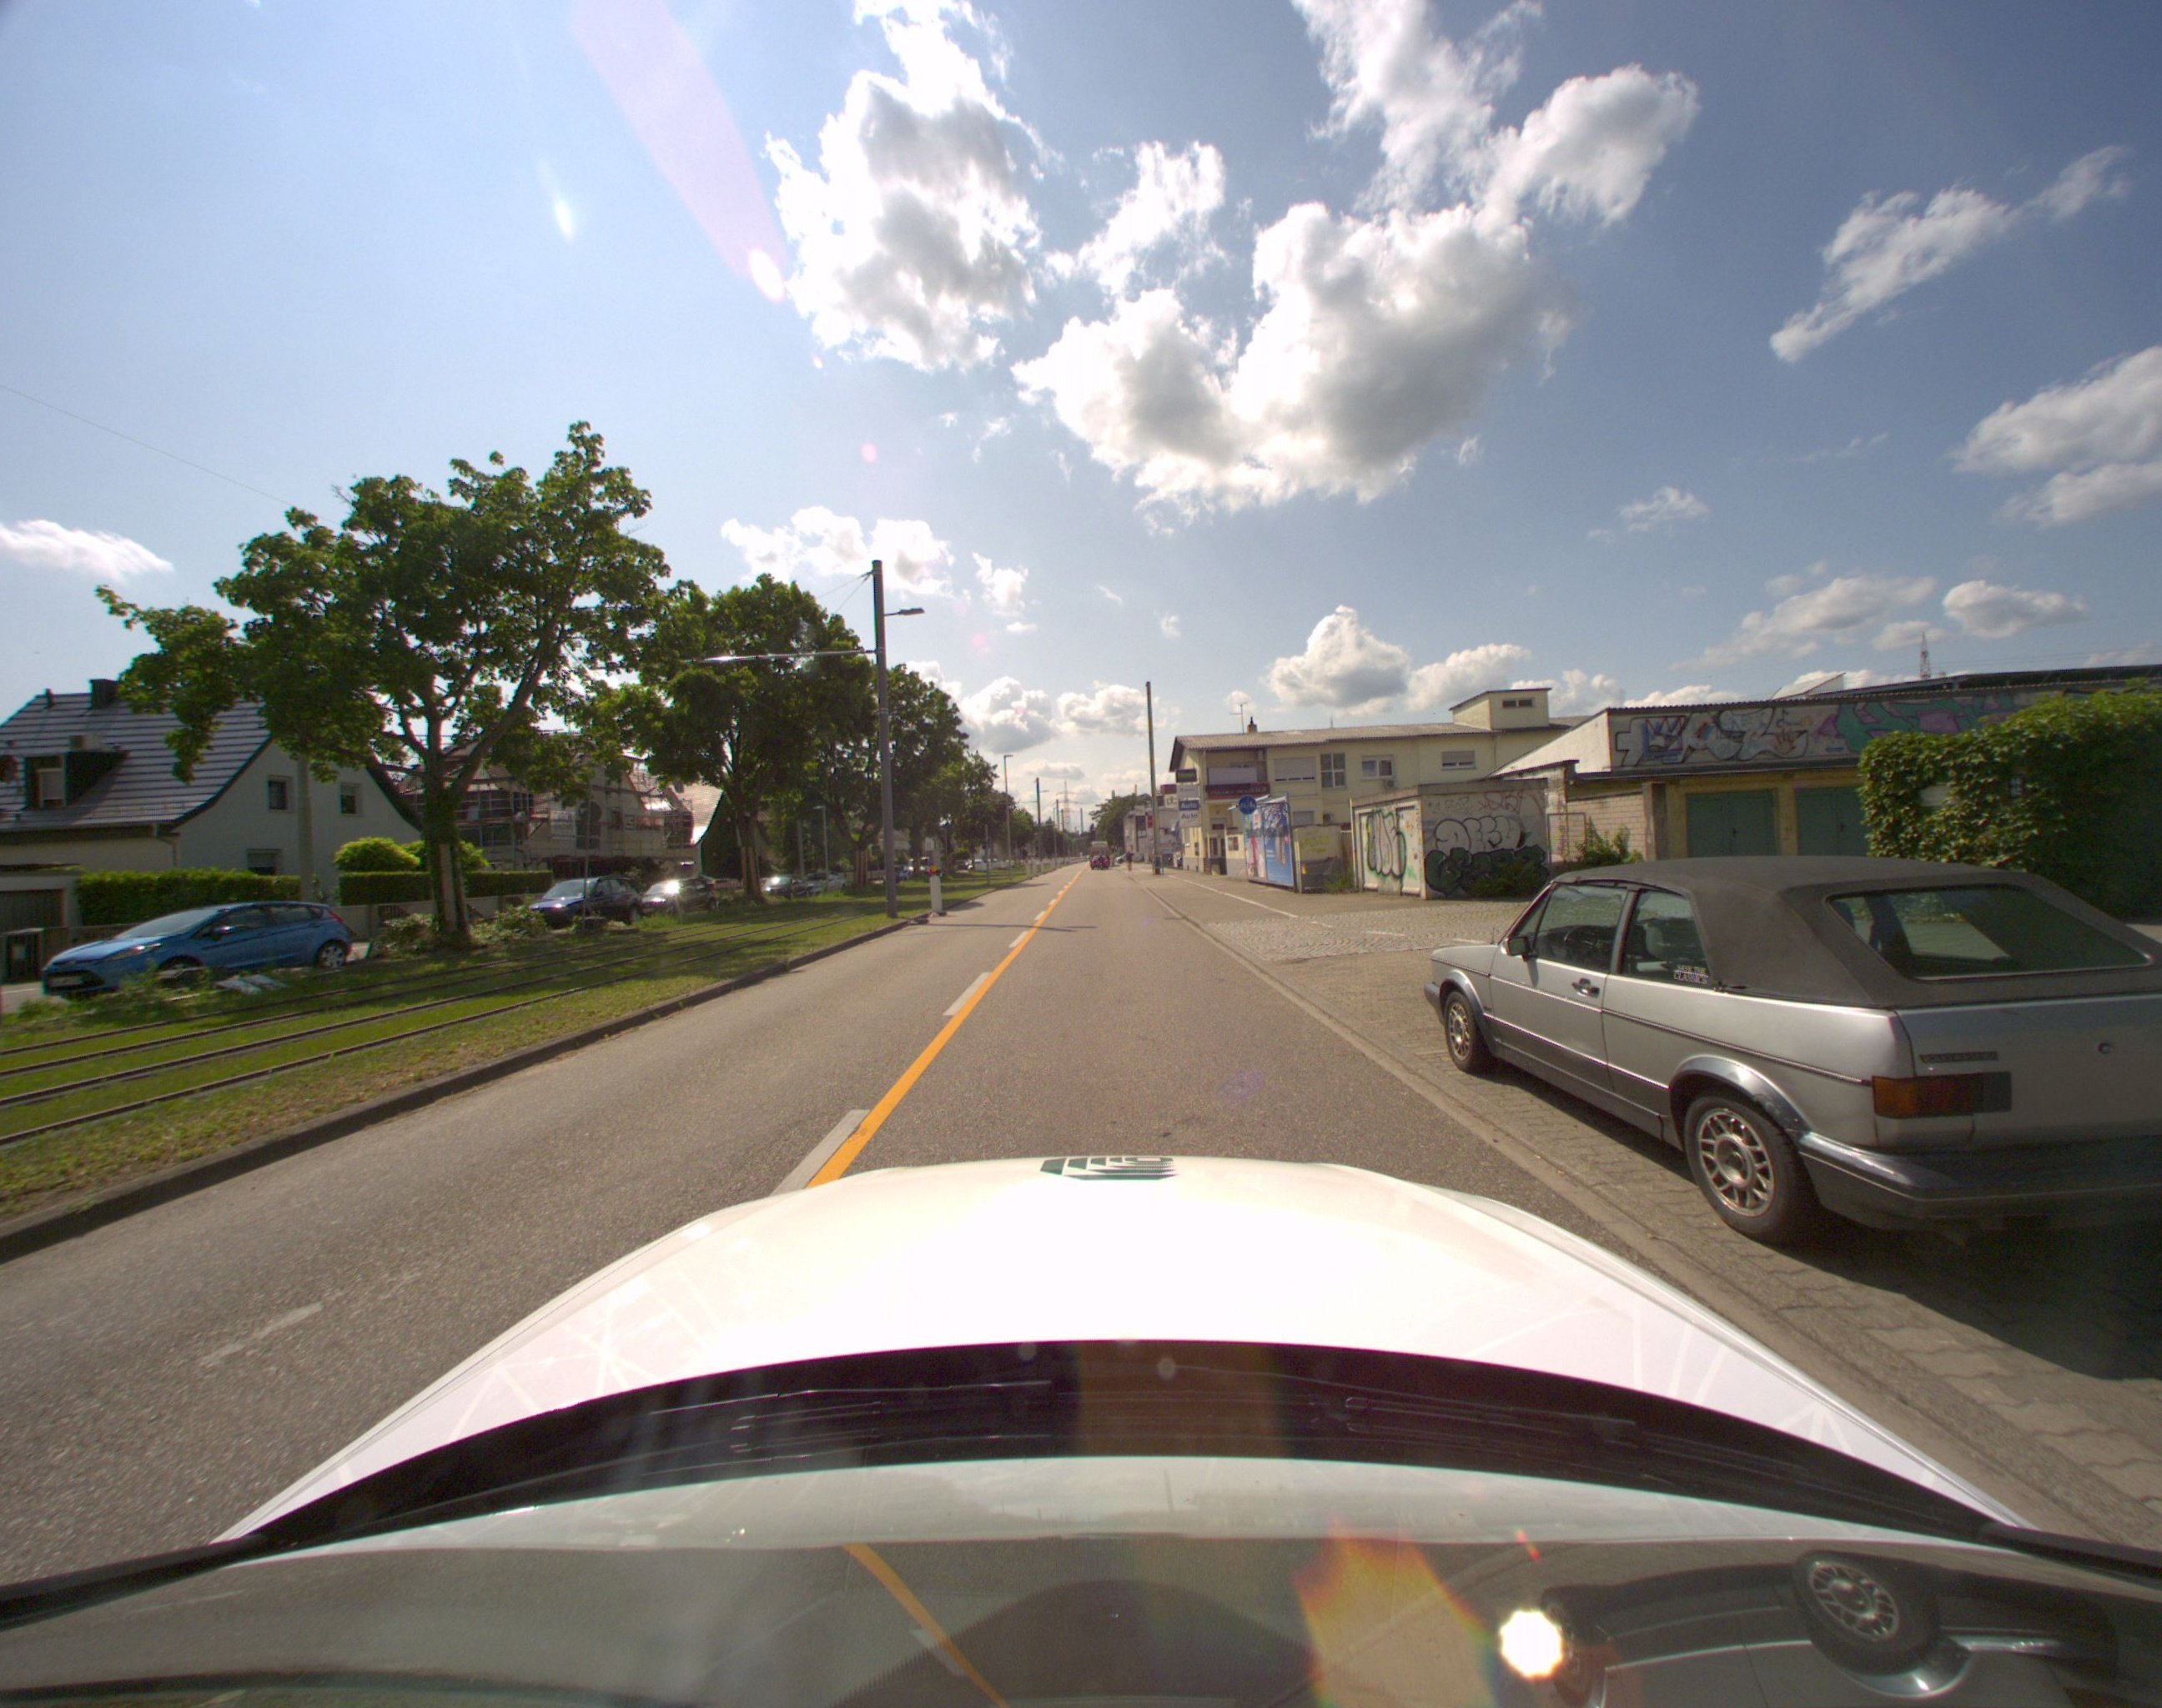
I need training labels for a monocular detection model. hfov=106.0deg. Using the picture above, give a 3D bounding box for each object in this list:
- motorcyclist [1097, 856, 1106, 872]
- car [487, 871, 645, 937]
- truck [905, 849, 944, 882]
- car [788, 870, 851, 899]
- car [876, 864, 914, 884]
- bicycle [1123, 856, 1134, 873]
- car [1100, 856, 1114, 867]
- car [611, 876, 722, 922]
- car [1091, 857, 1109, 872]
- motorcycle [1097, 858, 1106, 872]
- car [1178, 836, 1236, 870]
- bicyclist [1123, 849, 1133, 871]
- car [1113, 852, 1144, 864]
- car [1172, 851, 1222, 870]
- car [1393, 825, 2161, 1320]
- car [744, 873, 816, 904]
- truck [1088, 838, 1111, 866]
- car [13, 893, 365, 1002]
[{"bbox_3d":[2.075,0.970,82.753,0.936,1.615,1.205,0,-1,1],"label":"motorcyclist"},{"bbox_3d":[-15.244,1.409,24.452,1.989,1.691,4.387,-3,-1,-2],"label":"car"},{"bbox_3d":[-14.332,0.996,74.908,1.987,2.767,6.277,-5,0,1],"label":"truck"},{"bbox_3d":[-14.821,1.695,46.390,1.798,1.482,4.941,-3,-1,1],"label":"car"},{"bbox_3d":[-14.518,1.544,63.860,1.988,1.453,3.998,-3,-1,-1],"label":"car"},{"bbox_3d":[3.883,0.825,66.412,0.690,1.361,2.419,-3,0,1],"label":"bicycle"},{"bbox_3d":[3.731,1.056,116.595,1.815,1.464,4.001,-2,0,2],"label":"car"},{"bbox_3d":[-15.401,1.627,30.545,1.987,1.439,4.000,-4,-1,1],"label":"car"},{"bbox_3d":[2.000,1.102,87.279,1.815,1.424,4.001,-2,0,1],"label":"car"},{"bbox_3d":[2.077,1.125,82.932,0.936,1.320,2.645,0,-1,1],"label":"motorcycle"},{"bbox_3d":[10.479,-0.079,68.078,4.518,2.573,2.152,-3,-1,2],"label":"car"},{"bbox_3d":[3.842,0.458,66.436,0.669,1.744,0.813,-2,-1,0],"label":"bicyclist"},{"bbox_3d":[7.257,0.660,124.857,4.327,1.551,1.945,-3,-1,-7],"label":"car"},{"bbox_3d":[10.115,0.554,70.941,4.160,1.431,1.824,-3,-1,8],"label":"car"},{"bbox_3d":[3.307,0.676,4.507,1.645,1.431,4.098,-3,-1,2],"label":"car"},{"bbox_3d":[-14.973,1.685,40.737,1.987,1.317,3.853,-5,-1,1],"label":"car"},{"bbox_3d":[2.434,-0.275,103.532,2.600,3.255,9.186,-3,1,2],"label":"truck"},{"bbox_3d":[-15.305,1.519,14.346,1.747,1.436,3.892,-3,-1,3],"label":"car"}]
